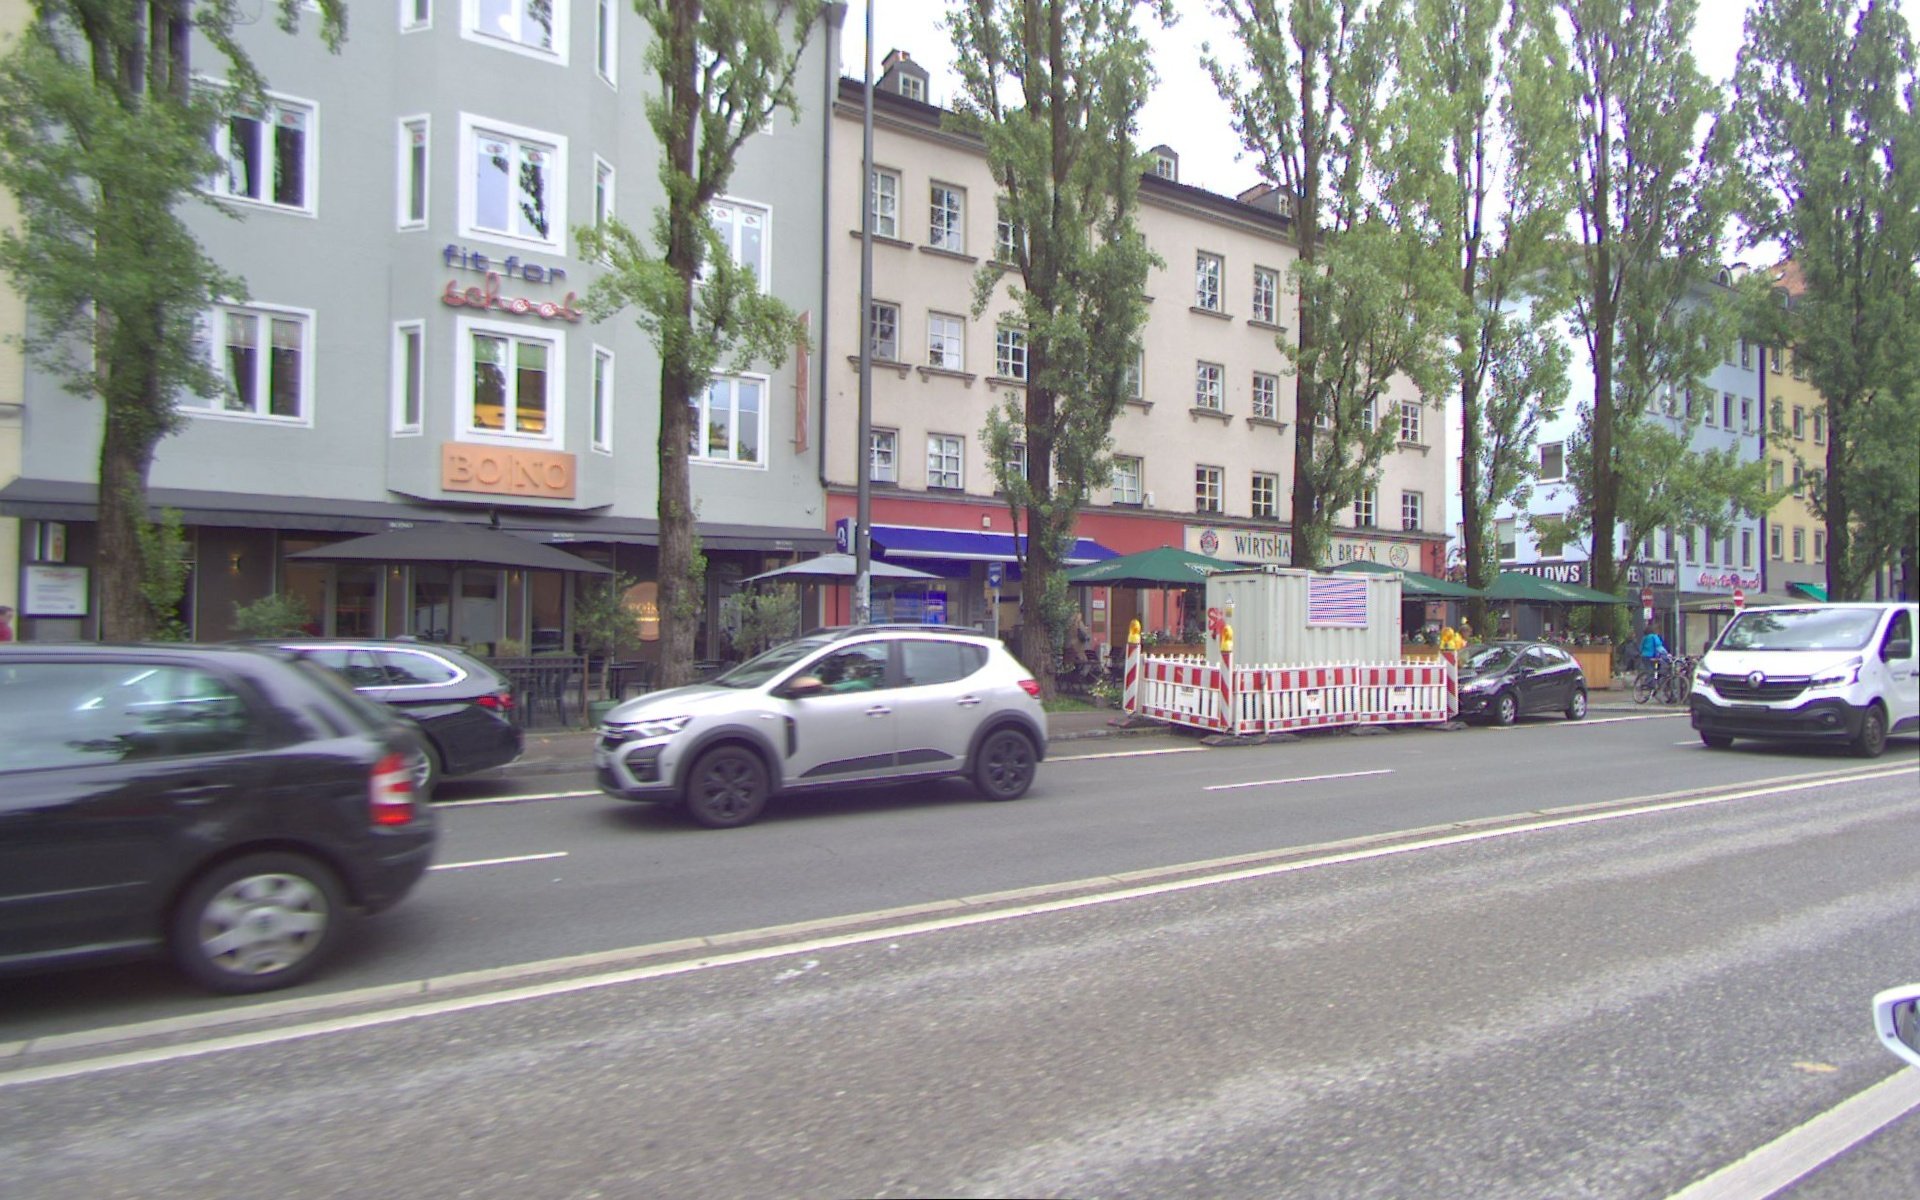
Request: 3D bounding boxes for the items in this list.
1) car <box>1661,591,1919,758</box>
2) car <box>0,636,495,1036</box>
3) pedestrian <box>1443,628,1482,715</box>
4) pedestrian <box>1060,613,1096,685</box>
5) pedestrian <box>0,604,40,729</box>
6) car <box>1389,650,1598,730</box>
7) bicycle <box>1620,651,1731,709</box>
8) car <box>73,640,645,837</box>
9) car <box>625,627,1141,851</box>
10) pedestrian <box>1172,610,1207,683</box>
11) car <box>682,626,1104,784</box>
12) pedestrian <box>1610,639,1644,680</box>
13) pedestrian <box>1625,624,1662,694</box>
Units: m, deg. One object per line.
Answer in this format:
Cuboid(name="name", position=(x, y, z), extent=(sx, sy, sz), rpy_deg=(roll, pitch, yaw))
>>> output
Cuboid(name="car", position=(12.090, 1.010, 13.943), extent=(4.861, 1.959, 1.985), rpy_deg=(2, -4, -30))
Cuboid(name="car", position=(-4.062, 0.872, 4.256), extent=(3.678, 1.432, 1.704), rpy_deg=(1, -2, -30))
Cuboid(name="pedestrian", position=(10.095, 1.421, 20.176), extent=(0.569, 1.724, 0.478), rpy_deg=(1, -1, -30))
Cuboid(name="pedestrian", position=(2.874, 1.181, 24.482), extent=(0.640, 1.722, 0.635), rpy_deg=(1, -2, -30))
Cuboid(name="pedestrian", position=(-13.802, 0.949, 14.425), extent=(0.746, 1.770, 0.536), rpy_deg=(1, -1, -30))
Cuboid(name="car", position=(9.844, 1.589, 18.504), extent=(3.658, 1.267, 1.801), rpy_deg=(1, -2, -31))
Cuboid(name="bicycle", position=(15.453, 1.702, 21.740), extent=(0.666, 1.152, 1.848), rpy_deg=(1, -2, -31))
Cuboid(name="car", position=(-5.421, 1.146, 9.657), extent=(4.268, 1.502, 1.985), rpy_deg=(1, -3, -29))
Cuboid(name="car", position=(-0.623, 1.044, 9.033), extent=(4.282, 1.585, 1.840), rpy_deg=(1, -2, -30))
Cuboid(name="pedestrian", position=(6.066, 1.228, 26.599), extent=(0.640, 1.886, 0.635), rpy_deg=(1, -2, -30))
Cuboid(name="car", position=(-0.772, 1.156, 12.380), extent=(4.831, 1.617, 1.986), rpy_deg=(1, -3, -29))
Cuboid(name="pedestrian", position=(26.086, 2.304, 39.270), extent=(0.887, 1.562, 0.790), rpy_deg=(1, -2, -30))
Cuboid(name="pedestrian", position=(18.251, 1.558, 26.803), extent=(0.658, 1.811, 0.825), rpy_deg=(1, -1, 44))
